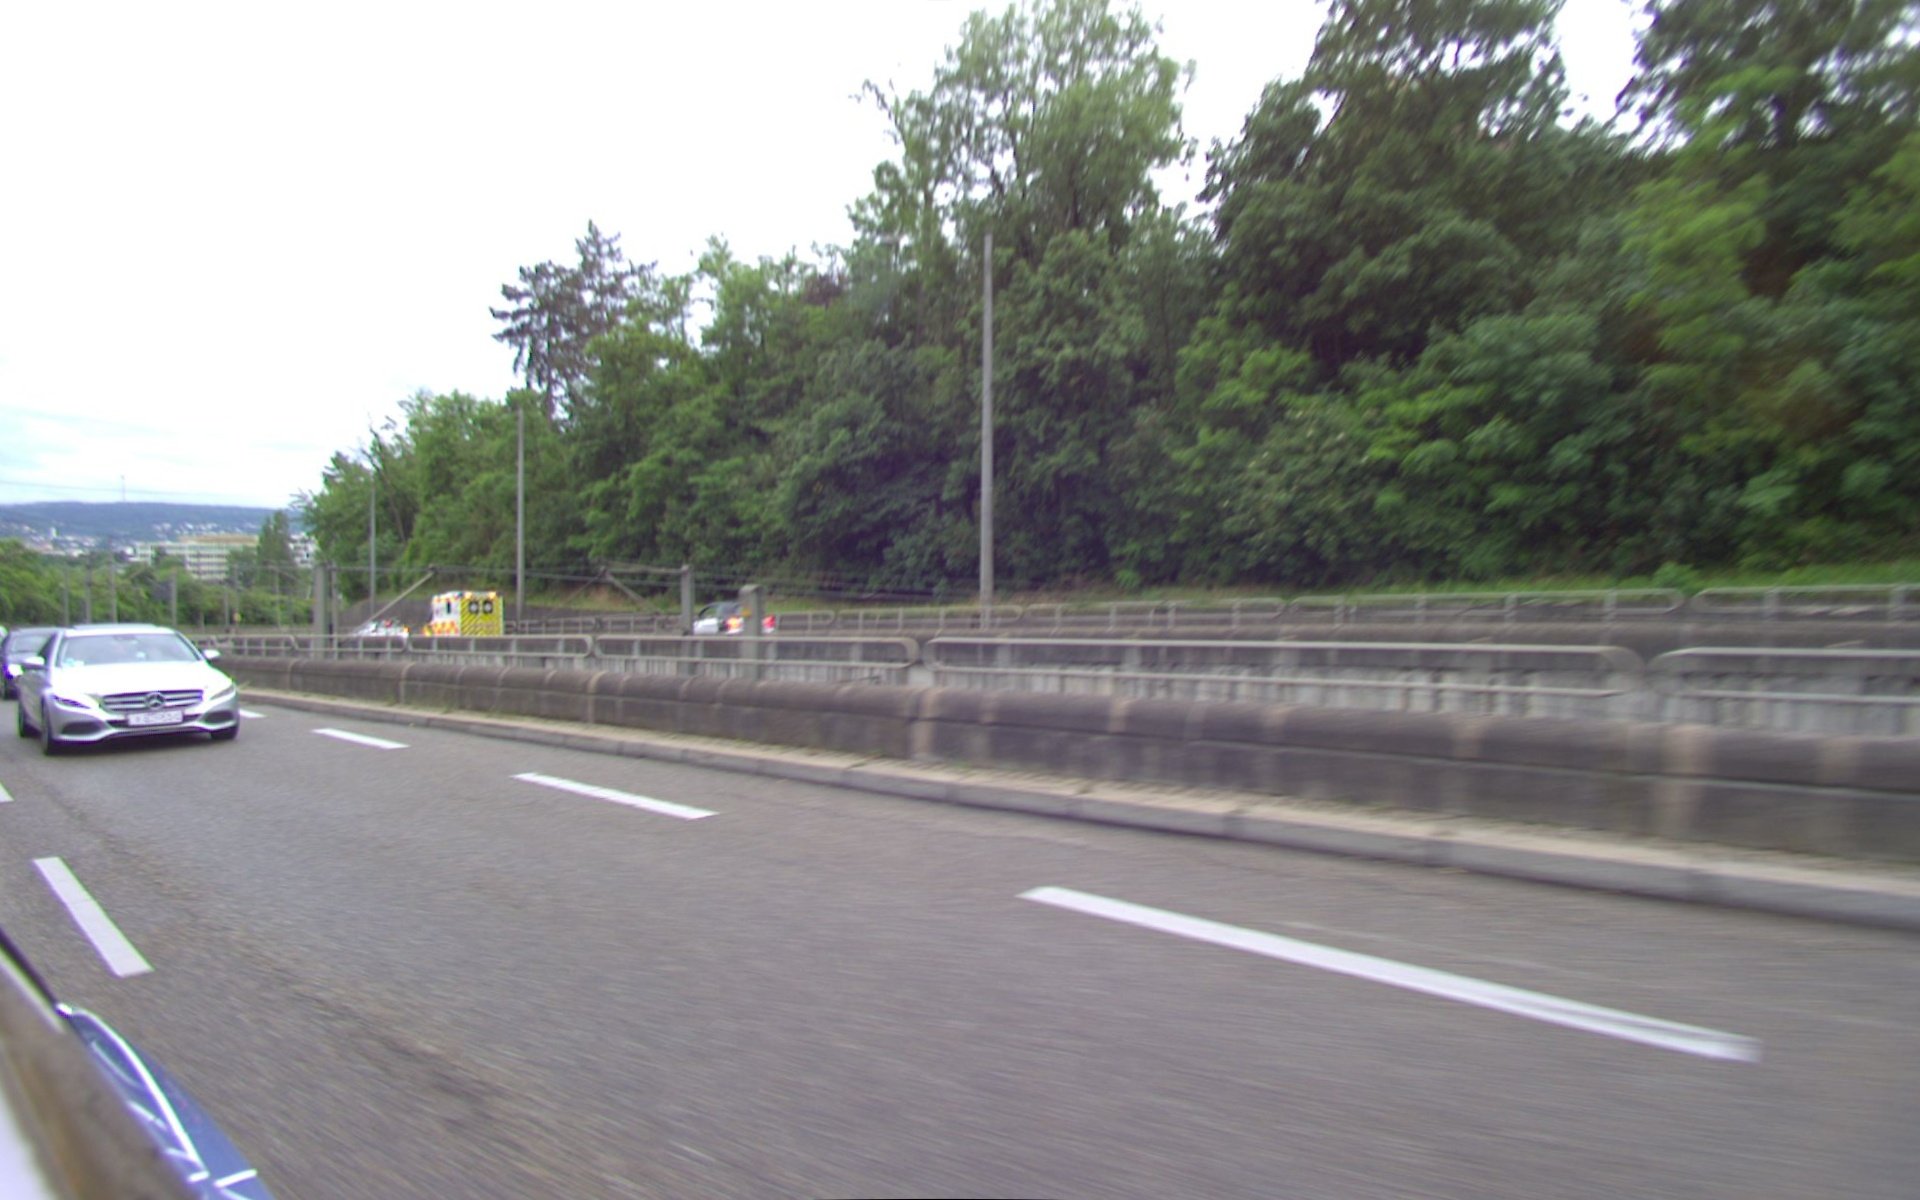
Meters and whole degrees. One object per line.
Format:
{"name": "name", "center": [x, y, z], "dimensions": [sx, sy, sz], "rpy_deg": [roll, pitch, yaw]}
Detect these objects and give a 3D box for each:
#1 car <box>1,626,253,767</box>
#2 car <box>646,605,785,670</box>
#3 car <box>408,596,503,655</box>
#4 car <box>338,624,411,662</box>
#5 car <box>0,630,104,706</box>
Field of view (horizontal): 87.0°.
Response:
{"name": "car", "center": [-10.536, 1.078, 12.676], "dimensions": [4.314, 1.413, 1.837], "rpy_deg": [-2, -1, 42]}
{"name": "car", "center": [-7.195, 1.055, 29.646], "dimensions": [4.139, 1.763, 1.941], "rpy_deg": [-1, -2, 41]}
{"name": "car", "center": [-25.125, 1.253, 50.262], "dimensions": [6.345, 2.755, 2.159], "rpy_deg": [-1, -2, 43]}
{"name": "car", "center": [-28.410, 2.051, 49.080], "dimensions": [4.108, 1.717, 1.799], "rpy_deg": [-1, -2, 41]}
{"name": "car", "center": [-20.050, 1.425, 22.041], "dimensions": [3.887, 1.482, 1.706], "rpy_deg": [-2, -2, 43]}
